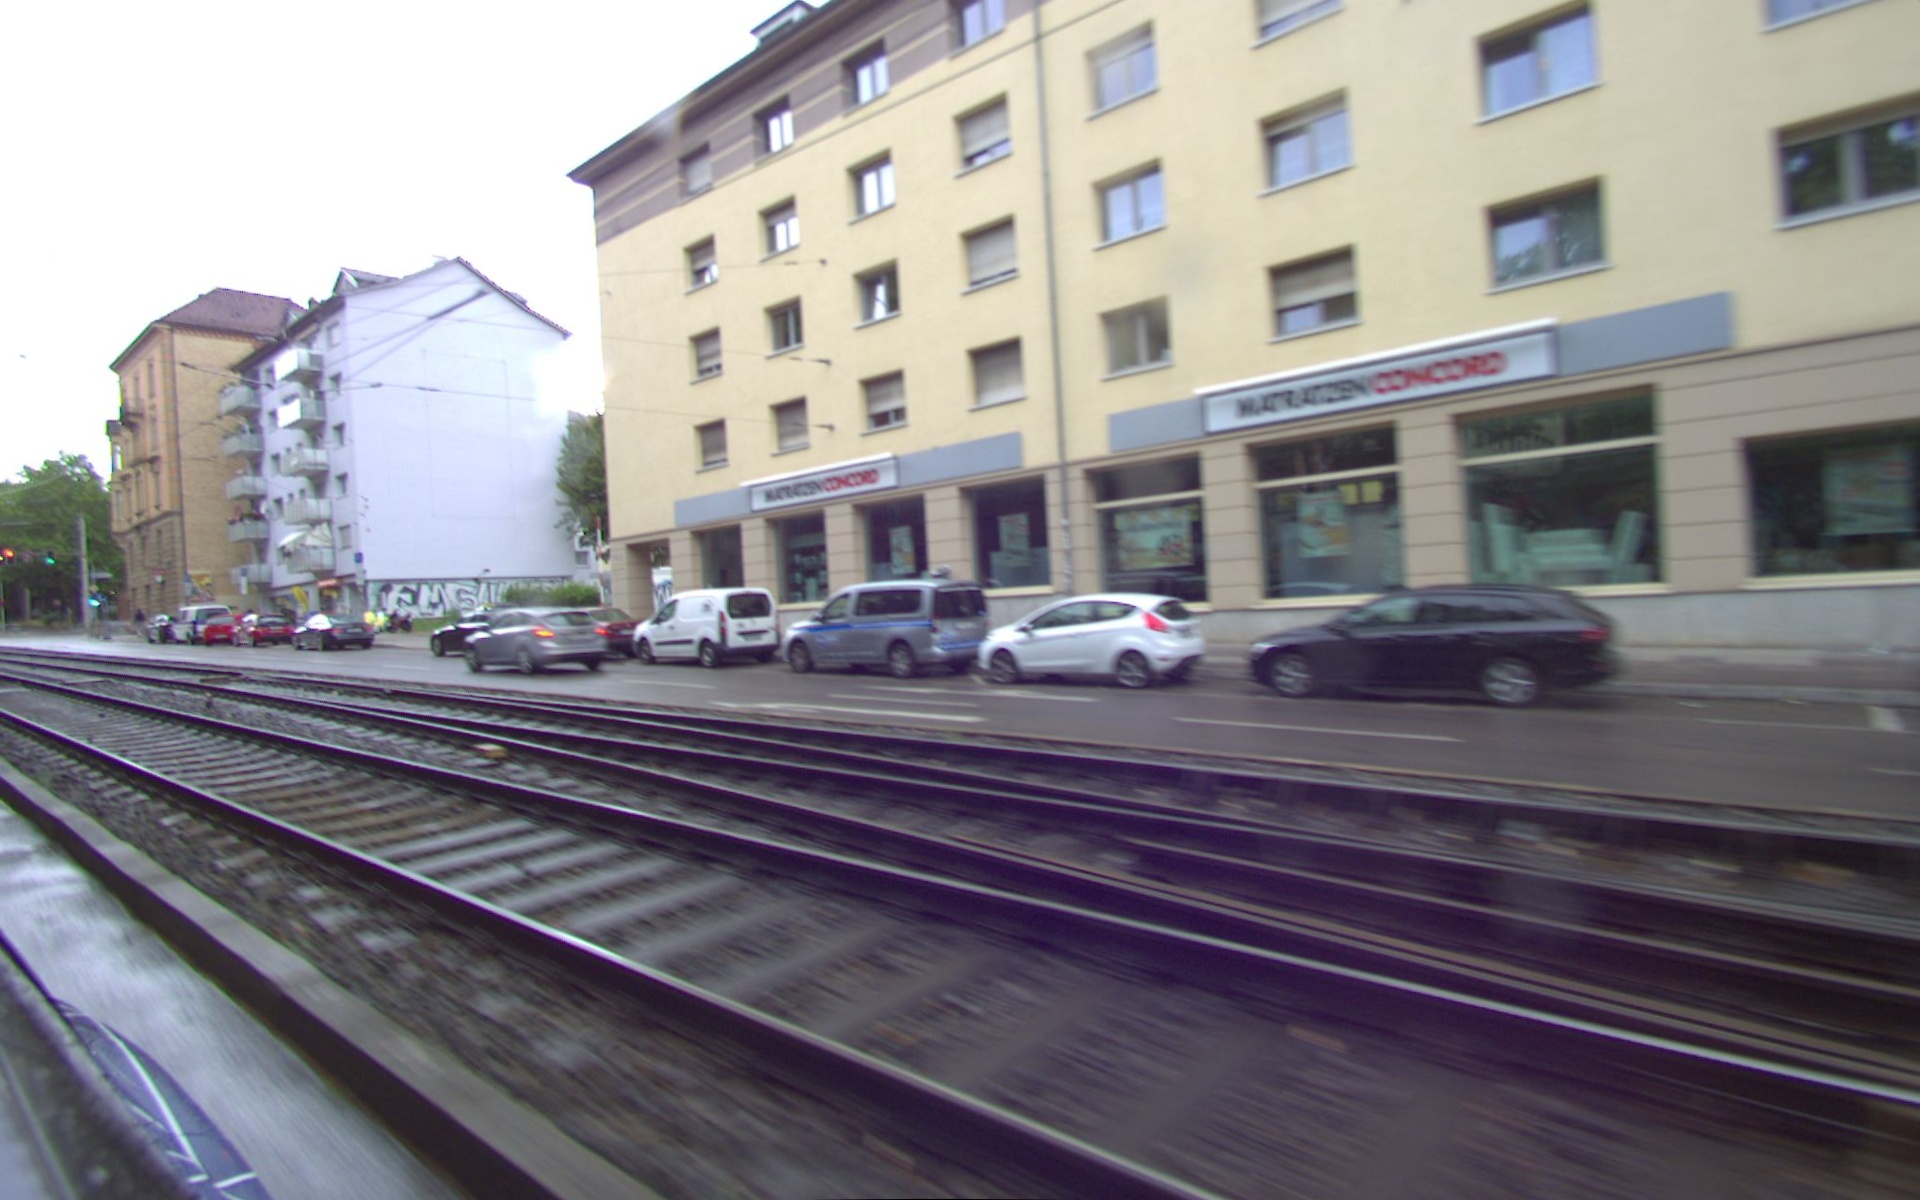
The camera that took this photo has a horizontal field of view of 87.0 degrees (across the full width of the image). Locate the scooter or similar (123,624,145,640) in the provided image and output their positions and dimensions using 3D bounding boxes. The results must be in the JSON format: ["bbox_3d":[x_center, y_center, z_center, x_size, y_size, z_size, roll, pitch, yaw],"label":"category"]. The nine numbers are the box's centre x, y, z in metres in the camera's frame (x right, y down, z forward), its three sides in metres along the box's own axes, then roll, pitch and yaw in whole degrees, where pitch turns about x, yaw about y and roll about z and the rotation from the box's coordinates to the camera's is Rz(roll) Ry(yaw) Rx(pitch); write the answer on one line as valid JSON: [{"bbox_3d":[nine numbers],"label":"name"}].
[{"bbox_3d":[-75.921,2.929,93.071,0.450,1.381,1.495,-2,0,24],"label":"scooter or similar"}]

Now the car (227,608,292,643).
[{"bbox_3d":[-32.084,1.153,46.337,4.074,1.462,1.635,-1,0,43],"label":"car"}]

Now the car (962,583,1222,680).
[{"bbox_3d":[2.150,0.565,16.991,4.043,1.450,1.675,-2,-4,37],"label":"car"}]

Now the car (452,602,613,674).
[{"bbox_3d":[-9.889,0.845,23.268,4.278,1.473,1.694,-2,-1,41],"label":"car"}]

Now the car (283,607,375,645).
[{"bbox_3d":[-24.930,1.021,39.933,4.618,1.406,1.663,-1,0,39],"label":"car"}]

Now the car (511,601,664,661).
[{"bbox_3d":[-10.363,0.833,27.978,4.829,1.443,1.832,-1,2,41],"label":"car"}]

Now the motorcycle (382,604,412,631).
[{"bbox_3d":[-27.657,0.856,49.703,1.783,1.209,0.633,0,5,40],"label":"motorcycle"}]

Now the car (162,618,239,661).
[{"bbox_3d":[-40.198,2.072,53.541,5.298,2.024,2.049,-2,3,41],"label":"car"}]

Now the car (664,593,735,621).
[{"bbox_3d":[-13.756,0.371,53.423,3.900,1.411,1.651,-1,0,40],"label":"car"}]

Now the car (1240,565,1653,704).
[{"bbox_3d":[6.262,0.415,13.368,4.579,1.510,1.795,-2,1,41],"label":"car"}]

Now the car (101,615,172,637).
[{"bbox_3d":[-61.594,1.937,75.776,1.773,1.550,3.755,-1,0,33],"label":"car"}]

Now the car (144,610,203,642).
[{"bbox_3d":[-44.405,1.476,57.081,4.360,1.663,1.716,-2,2,40],"label":"car"}]

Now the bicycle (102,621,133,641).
[{"bbox_3d":[-77.896,2.884,93.603,0.555,1.710,2.073,2,4,34],"label":"bicycle"}]

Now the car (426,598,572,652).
[{"bbox_3d":[-14.283,0.777,31.244,4.981,1.519,1.835,-1,0,36],"label":"car"}]

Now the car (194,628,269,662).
[{"bbox_3d":[-36.397,2.202,50.675,1.755,1.444,3.994,-2,1,-15],"label":"car"}]

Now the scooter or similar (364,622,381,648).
[{"bbox_3d":[-28.836,1.694,49.681,0.614,1.209,1.900,-5,1,-30],"label":"scooter or similar"}]

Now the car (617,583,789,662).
[{"bbox_3d":[-6.265,0.516,24.430,4.459,1.730,1.847,-1,0,42],"label":"car"}]

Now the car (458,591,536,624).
[{"bbox_3d":[-20.886,0.351,45.576,1.848,1.313,4.482,-2,0,-43],"label":"car"}]

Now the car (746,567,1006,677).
[{"bbox_3d":[-1.828,0.405,20.500,5.457,1.919,1.973,-1,2,41],"label":"car"}]
